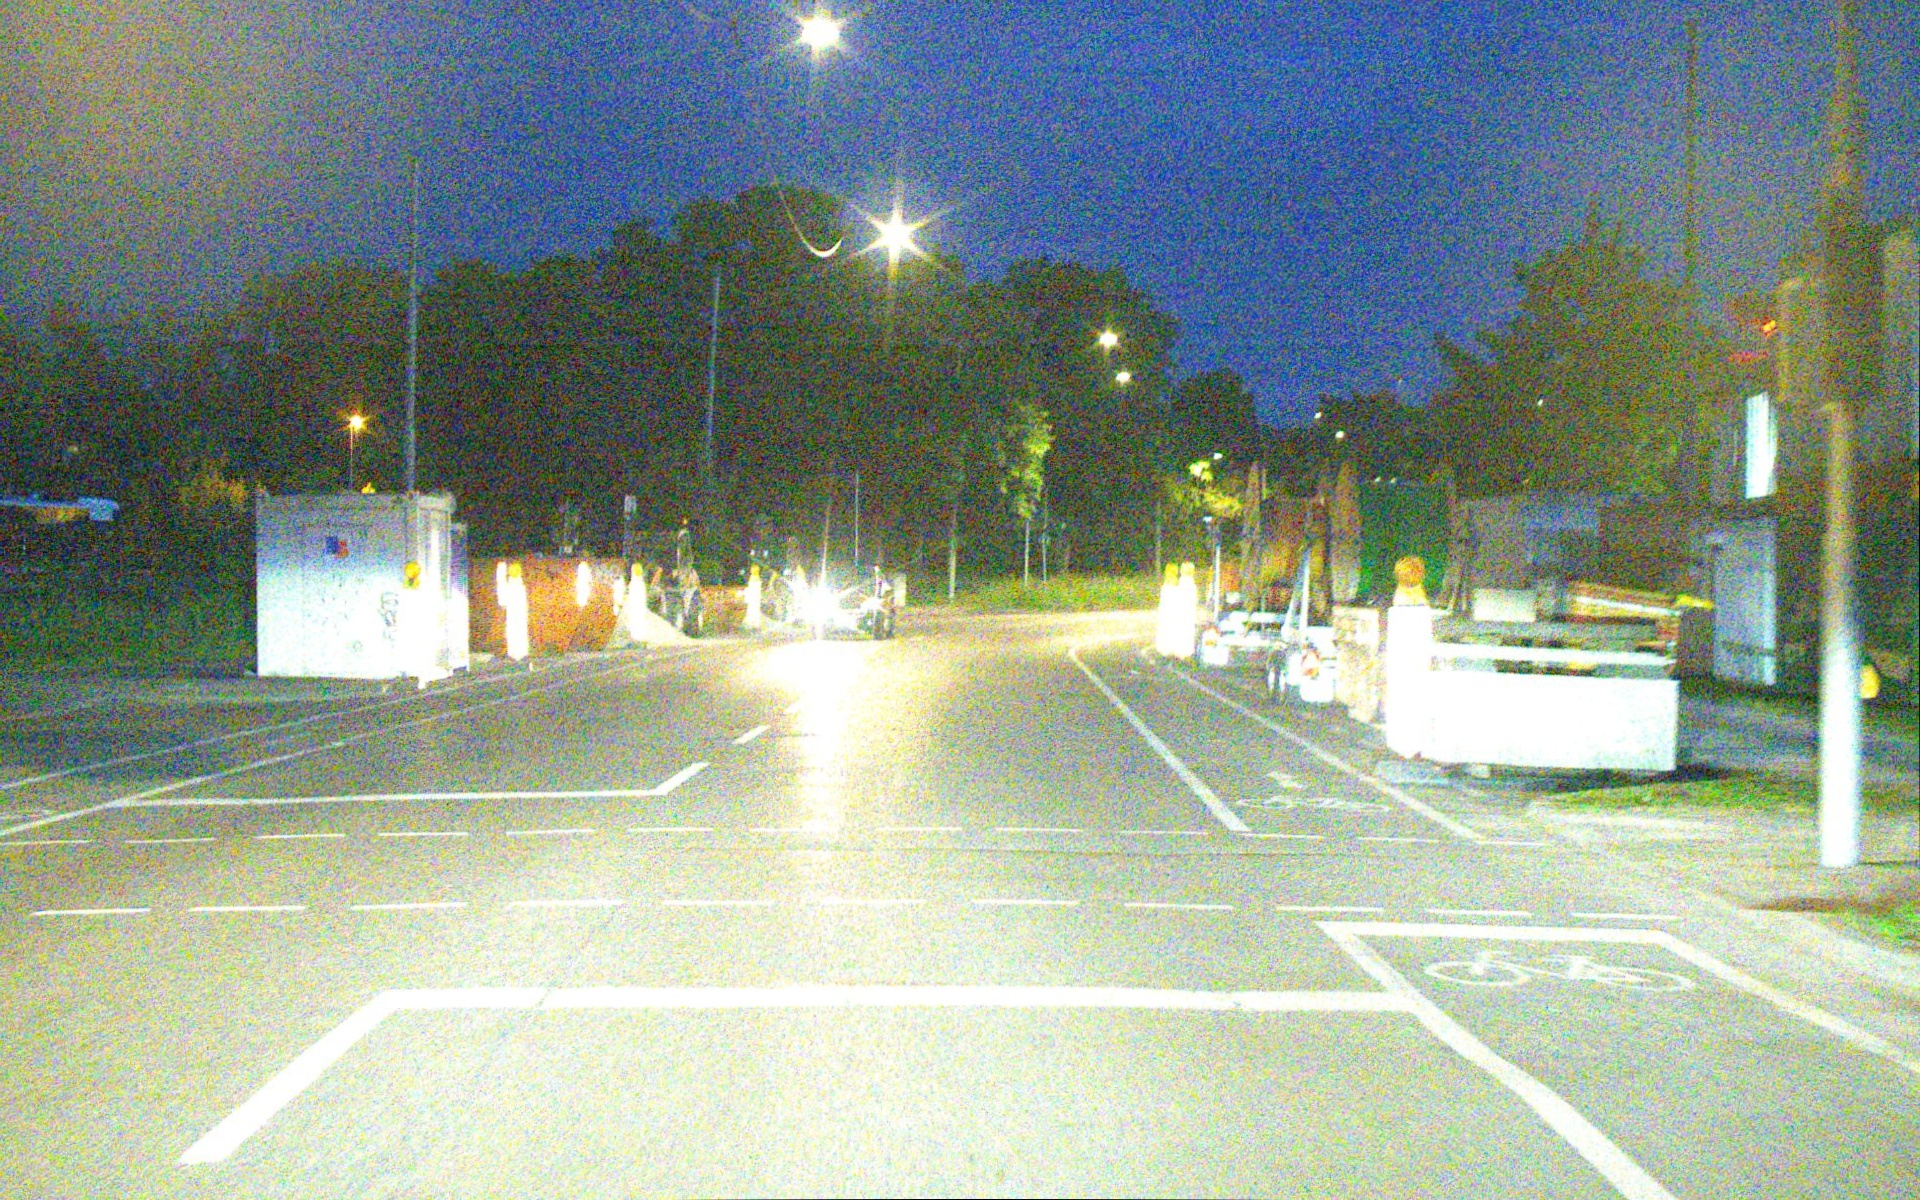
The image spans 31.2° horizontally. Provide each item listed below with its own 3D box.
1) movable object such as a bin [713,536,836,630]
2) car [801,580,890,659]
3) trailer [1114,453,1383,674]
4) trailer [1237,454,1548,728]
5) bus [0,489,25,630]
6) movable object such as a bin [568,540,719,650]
[{"bbox_3d":[-4.759,-0.423,88.879,1.994,2.368,4.699,0,0,12],"label":"movable object such as a bin"},{"bbox_3d":[-2.383,0.389,71.877,1.696,1.571,2.957,-2,0,0],"label":"car"},{"bbox_3d":[4.446,-0.533,54.081,3.481,3.208,4.865,2,-1,-3],"label":"trailer"},{"bbox_3d":[4.797,-0.081,38.953,2.613,2.836,4.709,2,-1,-3],"label":"trailer"},{"bbox_3d":[-24.829,-0.873,73.318,3.015,3.193,12.661,0,1,18],"label":"bus"},{"bbox_3d":[-7.013,-0.132,76.629,1.994,2.368,4.699,0,1,12],"label":"movable object such as a bin"}]
